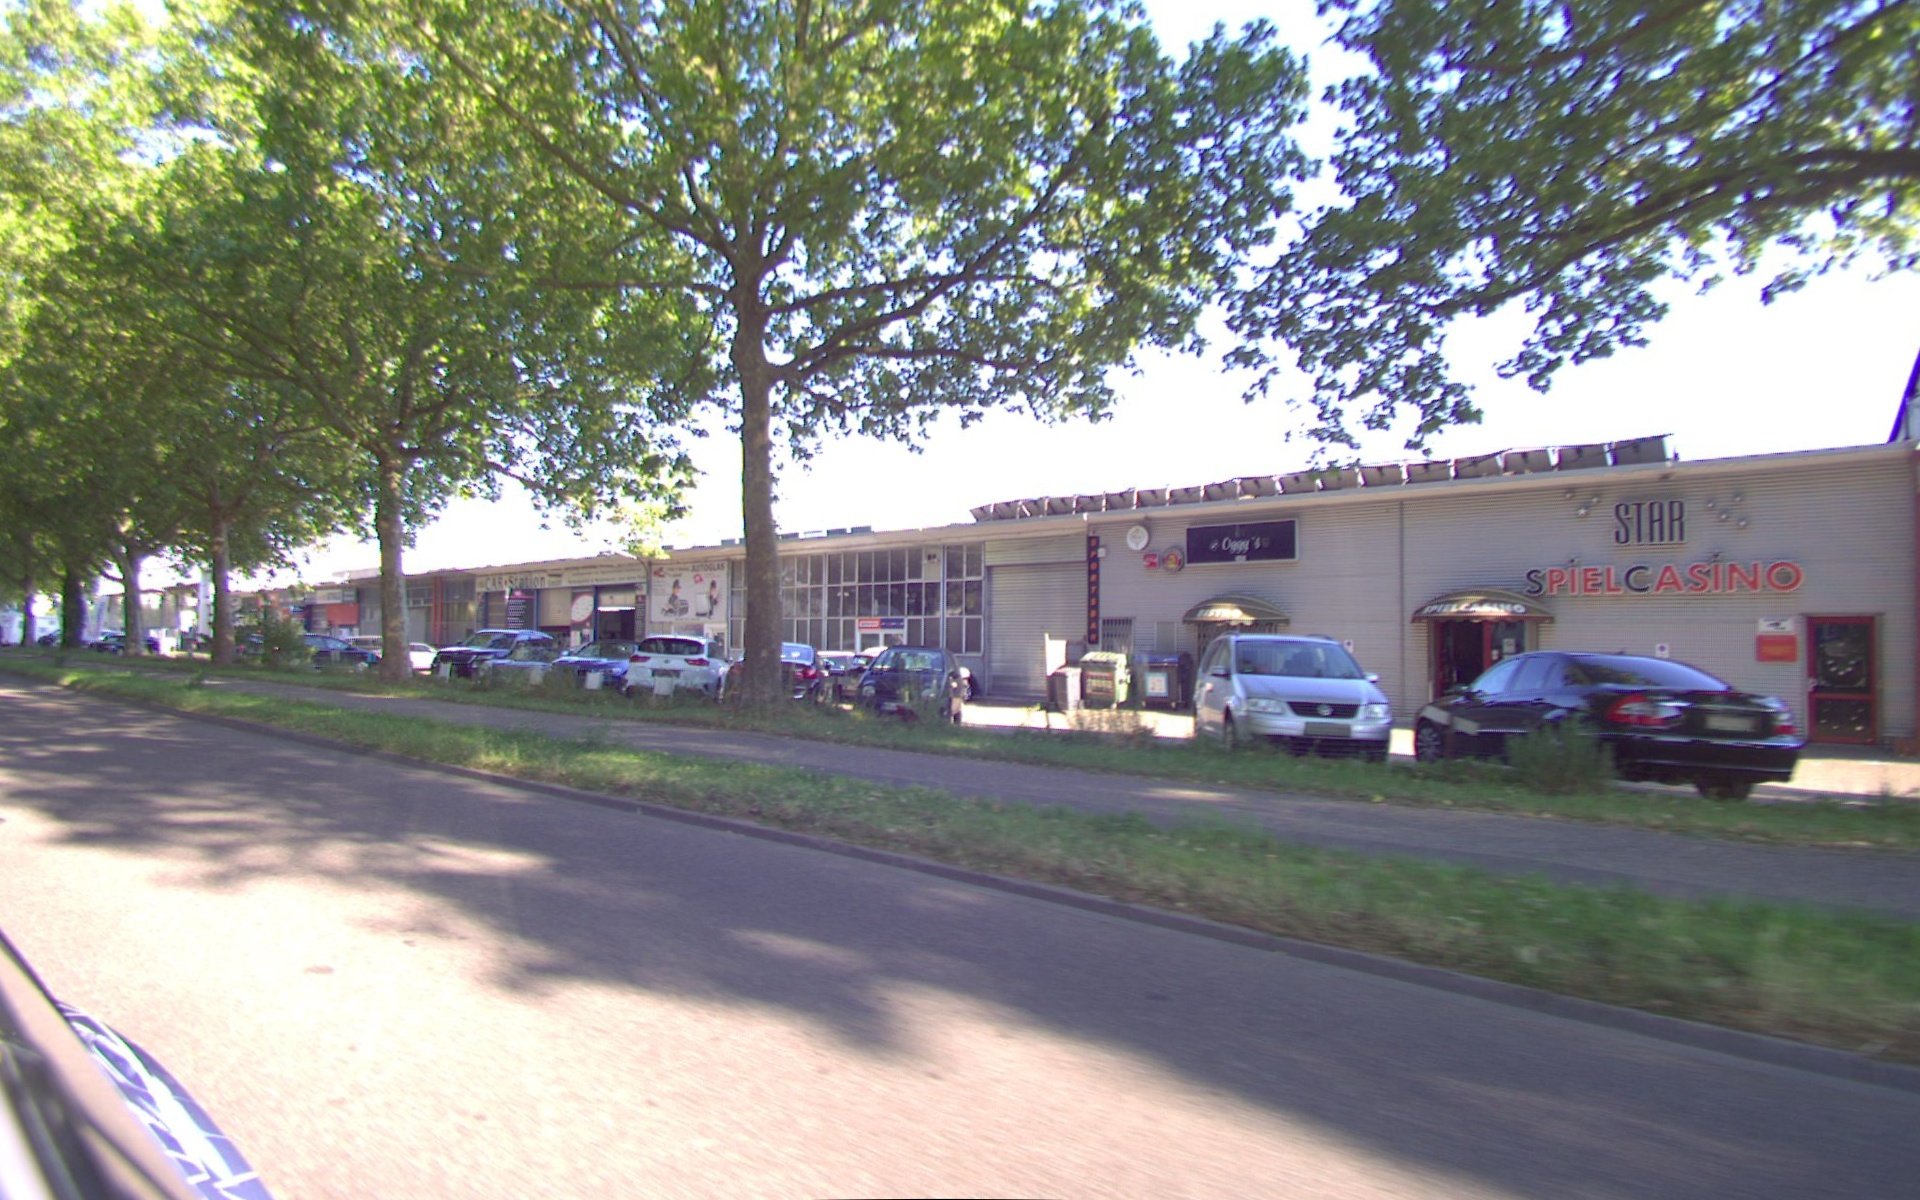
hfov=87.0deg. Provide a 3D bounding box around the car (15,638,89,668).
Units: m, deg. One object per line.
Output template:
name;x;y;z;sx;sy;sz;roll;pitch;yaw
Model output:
car;-62.171;3.611;69.381;1.967;1.854;4.259;0;-1;-12

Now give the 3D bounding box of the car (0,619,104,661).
car;-71.669;3.212;79.104;2.575;2.875;6.931;-1;-6;12

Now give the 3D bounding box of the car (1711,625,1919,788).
car;8.750;0.855;8.150;1.972;1.316;4.484;0;-3;-1

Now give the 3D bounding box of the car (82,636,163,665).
car;-50.647;3.047;61.291;1.970;1.587;3.847;-1;-1;-5

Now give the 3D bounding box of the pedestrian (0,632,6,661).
pedestrian;-60.015;2.883;63.042;0.940;1.786;0.795;-2;-1;43

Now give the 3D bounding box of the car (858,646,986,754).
car;-0.575;1.742;18.746;1.974;1.642;4.258;-1;-1;3

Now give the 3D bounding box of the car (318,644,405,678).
car;-33.292;3.346;56.428;3.930;1.719;2.006;0;-1;-22

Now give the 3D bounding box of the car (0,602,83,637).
car;-80.065;1.751;87.258;2.574;2.517;6.303;-1;-6;11

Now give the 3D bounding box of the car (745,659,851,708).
car;-5.233;2.645;32.551;3.242;1.395;1.557;0;-1;-14

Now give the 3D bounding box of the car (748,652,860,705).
car;-4.726;2.349;30.547;3.244;1.417;1.713;0;-1;-11

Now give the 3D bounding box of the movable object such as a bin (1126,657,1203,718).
movable object such as a bin;5.217;2.202;25.879;1.626;1.442;1.046;-1;-1;39

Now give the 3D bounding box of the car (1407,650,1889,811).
car;6.771;1.204;10.758;1.972;1.316;4.484;0;-3;-1

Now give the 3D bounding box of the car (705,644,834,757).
car;-3.268;1.667;18.090;1.969;1.642;4.269;0;-1;-7

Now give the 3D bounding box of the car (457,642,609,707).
car;-10.837;1.855;26.053;1.973;1.393;4.259;-1;-1;3

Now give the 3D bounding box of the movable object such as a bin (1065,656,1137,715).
movable object such as a bin;3.715;2.229;26.731;1.571;1.442;1.046;-1;-1;39

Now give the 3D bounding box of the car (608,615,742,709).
car;-5.729;1.176;20.888;1.969;1.712;4.268;0;-1;-6

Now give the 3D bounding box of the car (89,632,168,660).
car;-56.380;3.086;68.694;1.971;1.764;4.315;-1;-1;-3

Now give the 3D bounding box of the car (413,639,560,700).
car;-13.066;1.868;28.250;1.973;1.463;4.259;-1;-1;3

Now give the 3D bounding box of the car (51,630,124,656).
car;-58.225;2.846;67.624;1.967;1.582;4.061;0;-1;-12

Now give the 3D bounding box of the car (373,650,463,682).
car;-28.268;3.436;52.933;3.930;1.453;2.006;0;-1;-22

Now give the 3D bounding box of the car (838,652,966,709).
car;-1.676;2.278;29.180;3.241;1.417;1.714;0;-1;-27

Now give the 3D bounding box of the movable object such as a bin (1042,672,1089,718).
movable object such as a bin;2.731;2.430;26.122;0.975;1.107;0.717;-1;-1;36

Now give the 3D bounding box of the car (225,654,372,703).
car;-24.348;2.836;37.448;1.983;1.541;4.326;-1;-1;17

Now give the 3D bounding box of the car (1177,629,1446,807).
car;4.073;1.278;12.605;1.974;1.744;4.479;-1;-1;3

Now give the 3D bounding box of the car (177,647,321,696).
car;-30.198;2.986;43.189;1.983;1.773;4.872;-1;-1;17

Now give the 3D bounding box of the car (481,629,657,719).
car;-8.566;1.556;22.592;1.977;1.763;3.989;-1;-1;9
